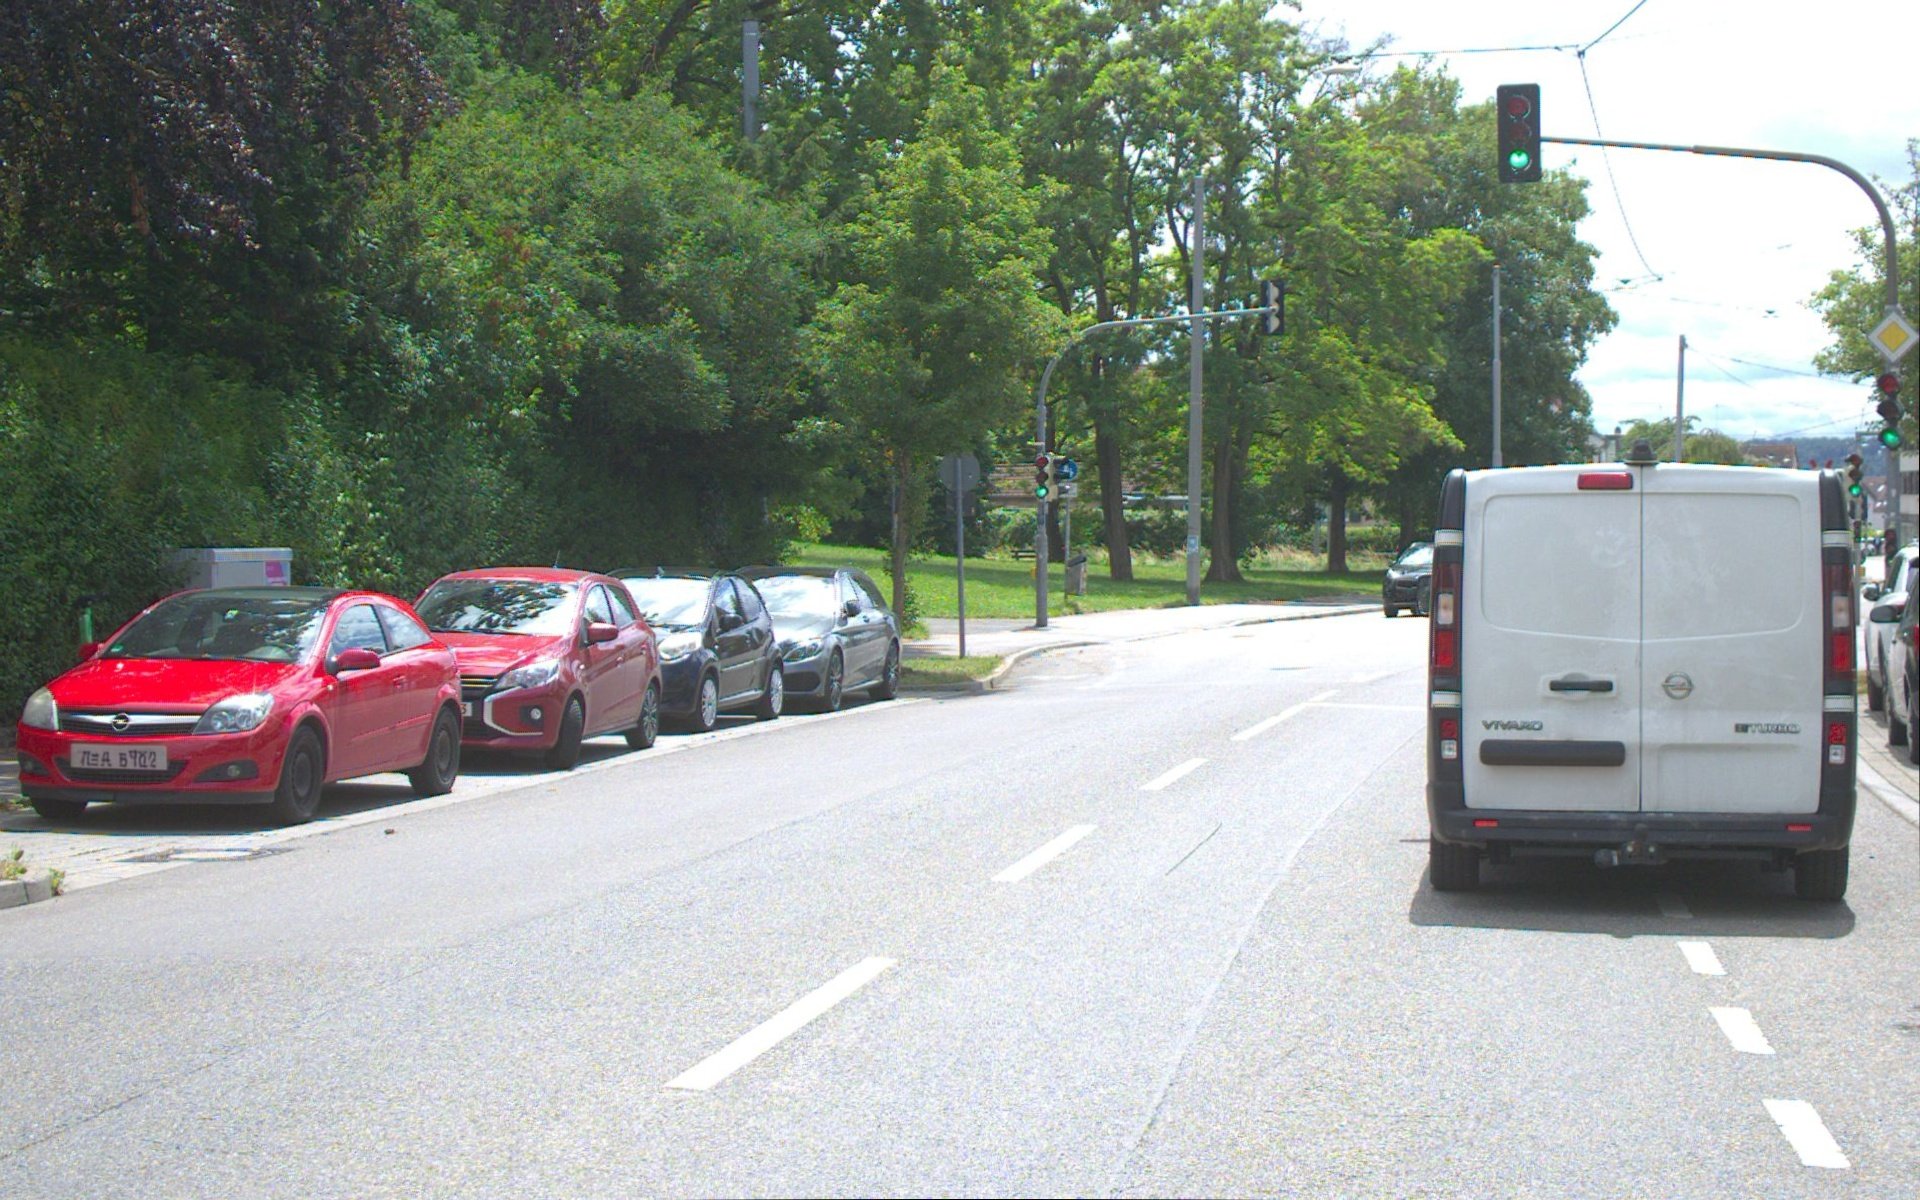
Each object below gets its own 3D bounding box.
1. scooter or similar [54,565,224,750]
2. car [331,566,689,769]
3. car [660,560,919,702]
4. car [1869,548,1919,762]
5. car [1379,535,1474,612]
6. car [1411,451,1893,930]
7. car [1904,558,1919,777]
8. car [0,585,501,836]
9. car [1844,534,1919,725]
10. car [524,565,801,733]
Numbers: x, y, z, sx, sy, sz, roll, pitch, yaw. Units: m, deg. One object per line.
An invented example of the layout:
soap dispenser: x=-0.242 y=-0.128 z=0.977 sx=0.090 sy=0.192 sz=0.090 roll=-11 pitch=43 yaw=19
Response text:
scooter or similar: x=-6.538 y=0.438 z=27.452 sx=0.670 sy=1.407 sz=1.648 roll=1 pitch=1 yaw=12
car: x=-3.466 y=0.469 z=27.238 sx=1.650 sy=1.445 sz=4.103 roll=1 pitch=1 yaw=10
car: x=-1.715 y=0.276 z=36.241 sx=1.695 sy=1.361 sz=4.684 roll=1 pitch=1 yaw=10
car: x=7.777 y=0.340 z=25.748 sx=1.569 sy=1.488 sz=3.998 roll=-1 pitch=0 yaw=11
car: x=10.454 y=-0.617 z=76.856 sx=1.834 sy=1.611 sz=4.150 roll=-2 pitch=1 yaw=11
car: x=3.302 y=0.331 z=16.841 sx=1.939 sy=1.954 sz=4.831 roll=2 pitch=1 yaw=10
car: x=6.958 y=0.435 z=20.790 sx=1.765 sy=1.472 sz=4.934 roll=-3 pitch=0 yaw=9
car: x=-4.466 y=0.618 z=22.031 sx=1.661 sy=1.373 sz=4.564 roll=1 pitch=1 yaw=11
car: x=9.108 y=0.189 z=31.214 sx=1.738 sy=1.611 sz=4.385 roll=-3 pitch=0 yaw=11
car: x=-2.713 y=0.413 z=32.051 sx=1.596 sy=1.445 sz=3.594 roll=1 pitch=1 yaw=12
